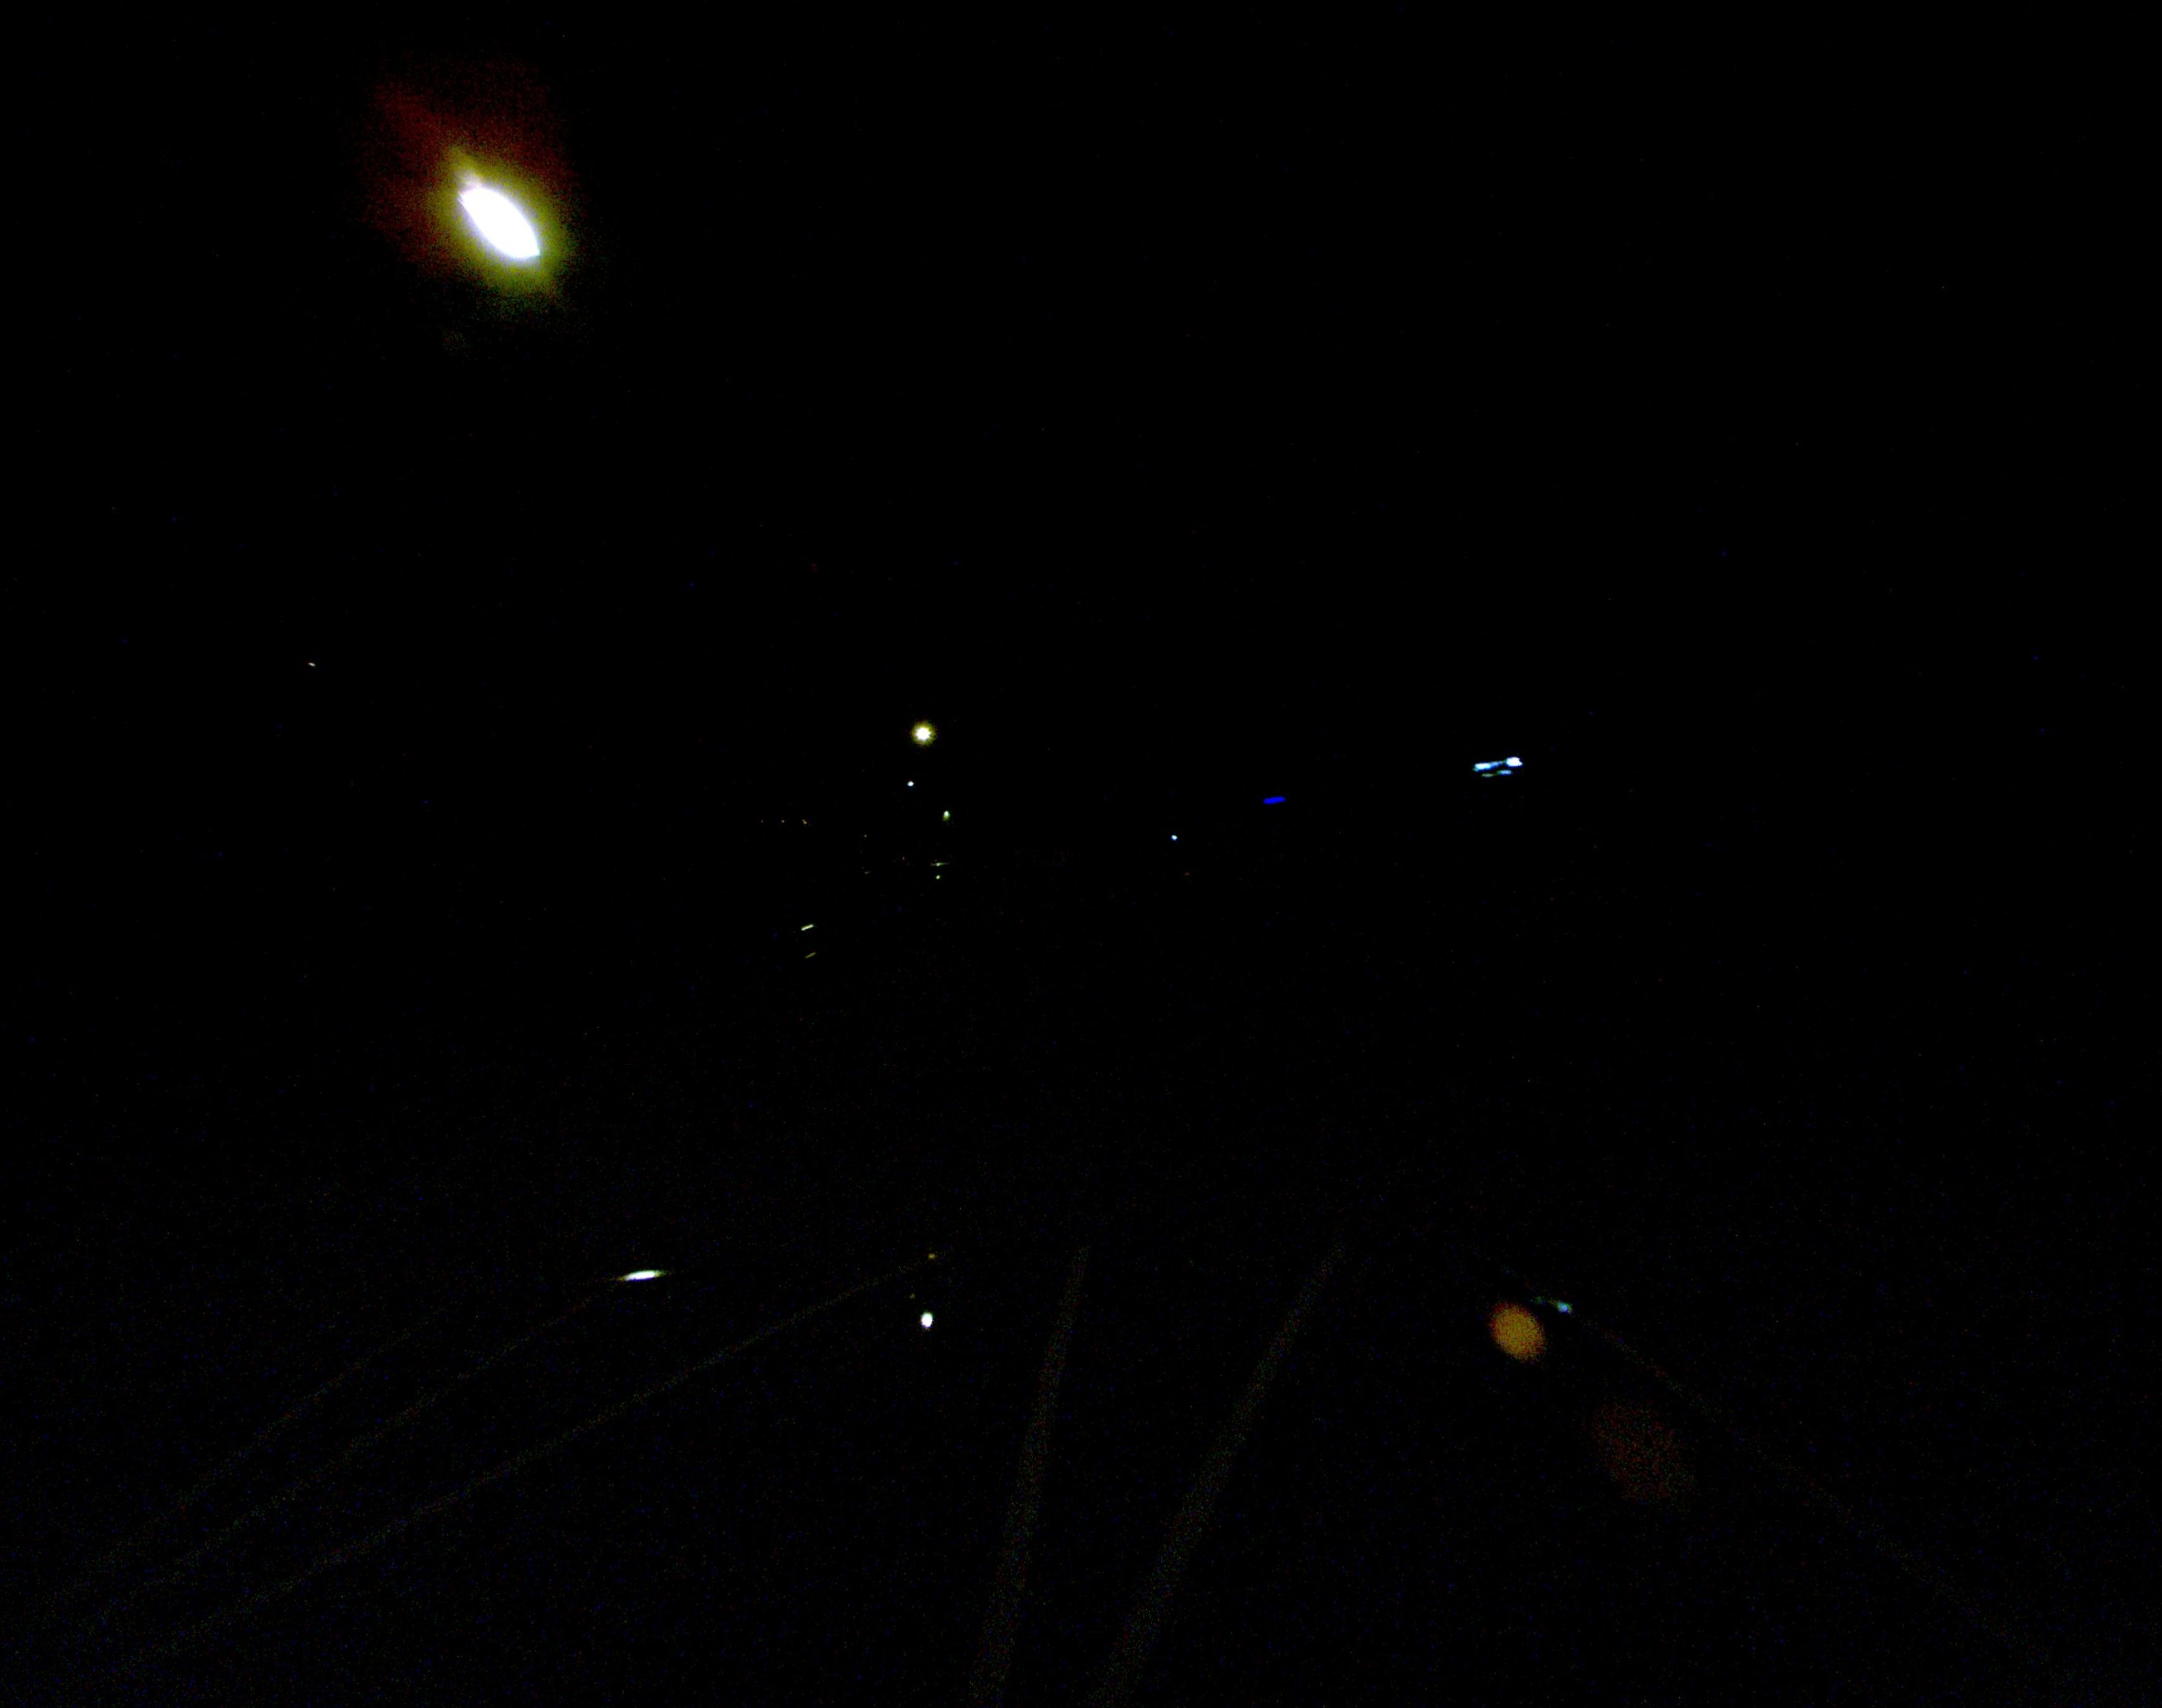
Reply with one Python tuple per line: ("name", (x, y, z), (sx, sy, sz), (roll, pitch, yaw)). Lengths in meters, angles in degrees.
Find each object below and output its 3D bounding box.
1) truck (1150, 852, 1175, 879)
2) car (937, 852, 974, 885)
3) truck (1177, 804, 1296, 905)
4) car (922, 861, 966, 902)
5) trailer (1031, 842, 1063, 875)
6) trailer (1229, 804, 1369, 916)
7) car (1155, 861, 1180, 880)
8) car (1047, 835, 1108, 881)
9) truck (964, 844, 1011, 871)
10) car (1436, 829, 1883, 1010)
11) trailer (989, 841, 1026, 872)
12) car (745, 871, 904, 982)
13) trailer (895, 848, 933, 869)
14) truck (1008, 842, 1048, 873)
("truck", (7.909, 1.083, 74.172), (2.137, 2.597, 7.102), (0, 0, 4))
("car", (-8.619, 0.971, 52.000), (2.001, 2.002, 5.349), (-3, 0, -14))
("truck", (5.492, 0.010, 28.172), (2.380, 3.224, 7.229), (-1, 0, -4))
("car", (-5.706, 1.090, 31.880), (1.613, 1.503, 3.822), (-3, 0, -9))
("trailer", (-2.961, 0.399, 65.078), (2.004, 2.749, 3.995), (1, -1, -13))
("trailer", (5.961, 0.155, 21.457), (2.211, 2.779, 4.614), (-1, 0, -6))
("car", (7.437, 1.393, 65.560), (1.861, 1.630, 4.001), (0, 0, 3))
("car", (-0.405, 0.321, 57.088), (2.392, 3.224, 7.220), (-1, 0, -18))
("truck", (-11.247, 0.423, 90.322), (2.755, 3.047, 9.318), (-1, 0, -25))
("car", (6.887, 0.651, 9.905), (1.999, 1.761, 4.690), (-1, 0, -5))
("trailer", (-7.831, 0.305, 79.863), (2.492, 3.054, 7.943), (-1, 0, -16))
("car", (-4.231, 1.104, 13.187), (1.716, 1.499, 3.998), (-2, 0, -6))
("trailer", (-16.341, 0.461, 74.285), (1.498, 2.002, 4.972), (-1, 0, -39))
("truck", (-5.058, 0.361, 71.518), (2.002, 2.767, 7.232), (-1, 0, -18))
